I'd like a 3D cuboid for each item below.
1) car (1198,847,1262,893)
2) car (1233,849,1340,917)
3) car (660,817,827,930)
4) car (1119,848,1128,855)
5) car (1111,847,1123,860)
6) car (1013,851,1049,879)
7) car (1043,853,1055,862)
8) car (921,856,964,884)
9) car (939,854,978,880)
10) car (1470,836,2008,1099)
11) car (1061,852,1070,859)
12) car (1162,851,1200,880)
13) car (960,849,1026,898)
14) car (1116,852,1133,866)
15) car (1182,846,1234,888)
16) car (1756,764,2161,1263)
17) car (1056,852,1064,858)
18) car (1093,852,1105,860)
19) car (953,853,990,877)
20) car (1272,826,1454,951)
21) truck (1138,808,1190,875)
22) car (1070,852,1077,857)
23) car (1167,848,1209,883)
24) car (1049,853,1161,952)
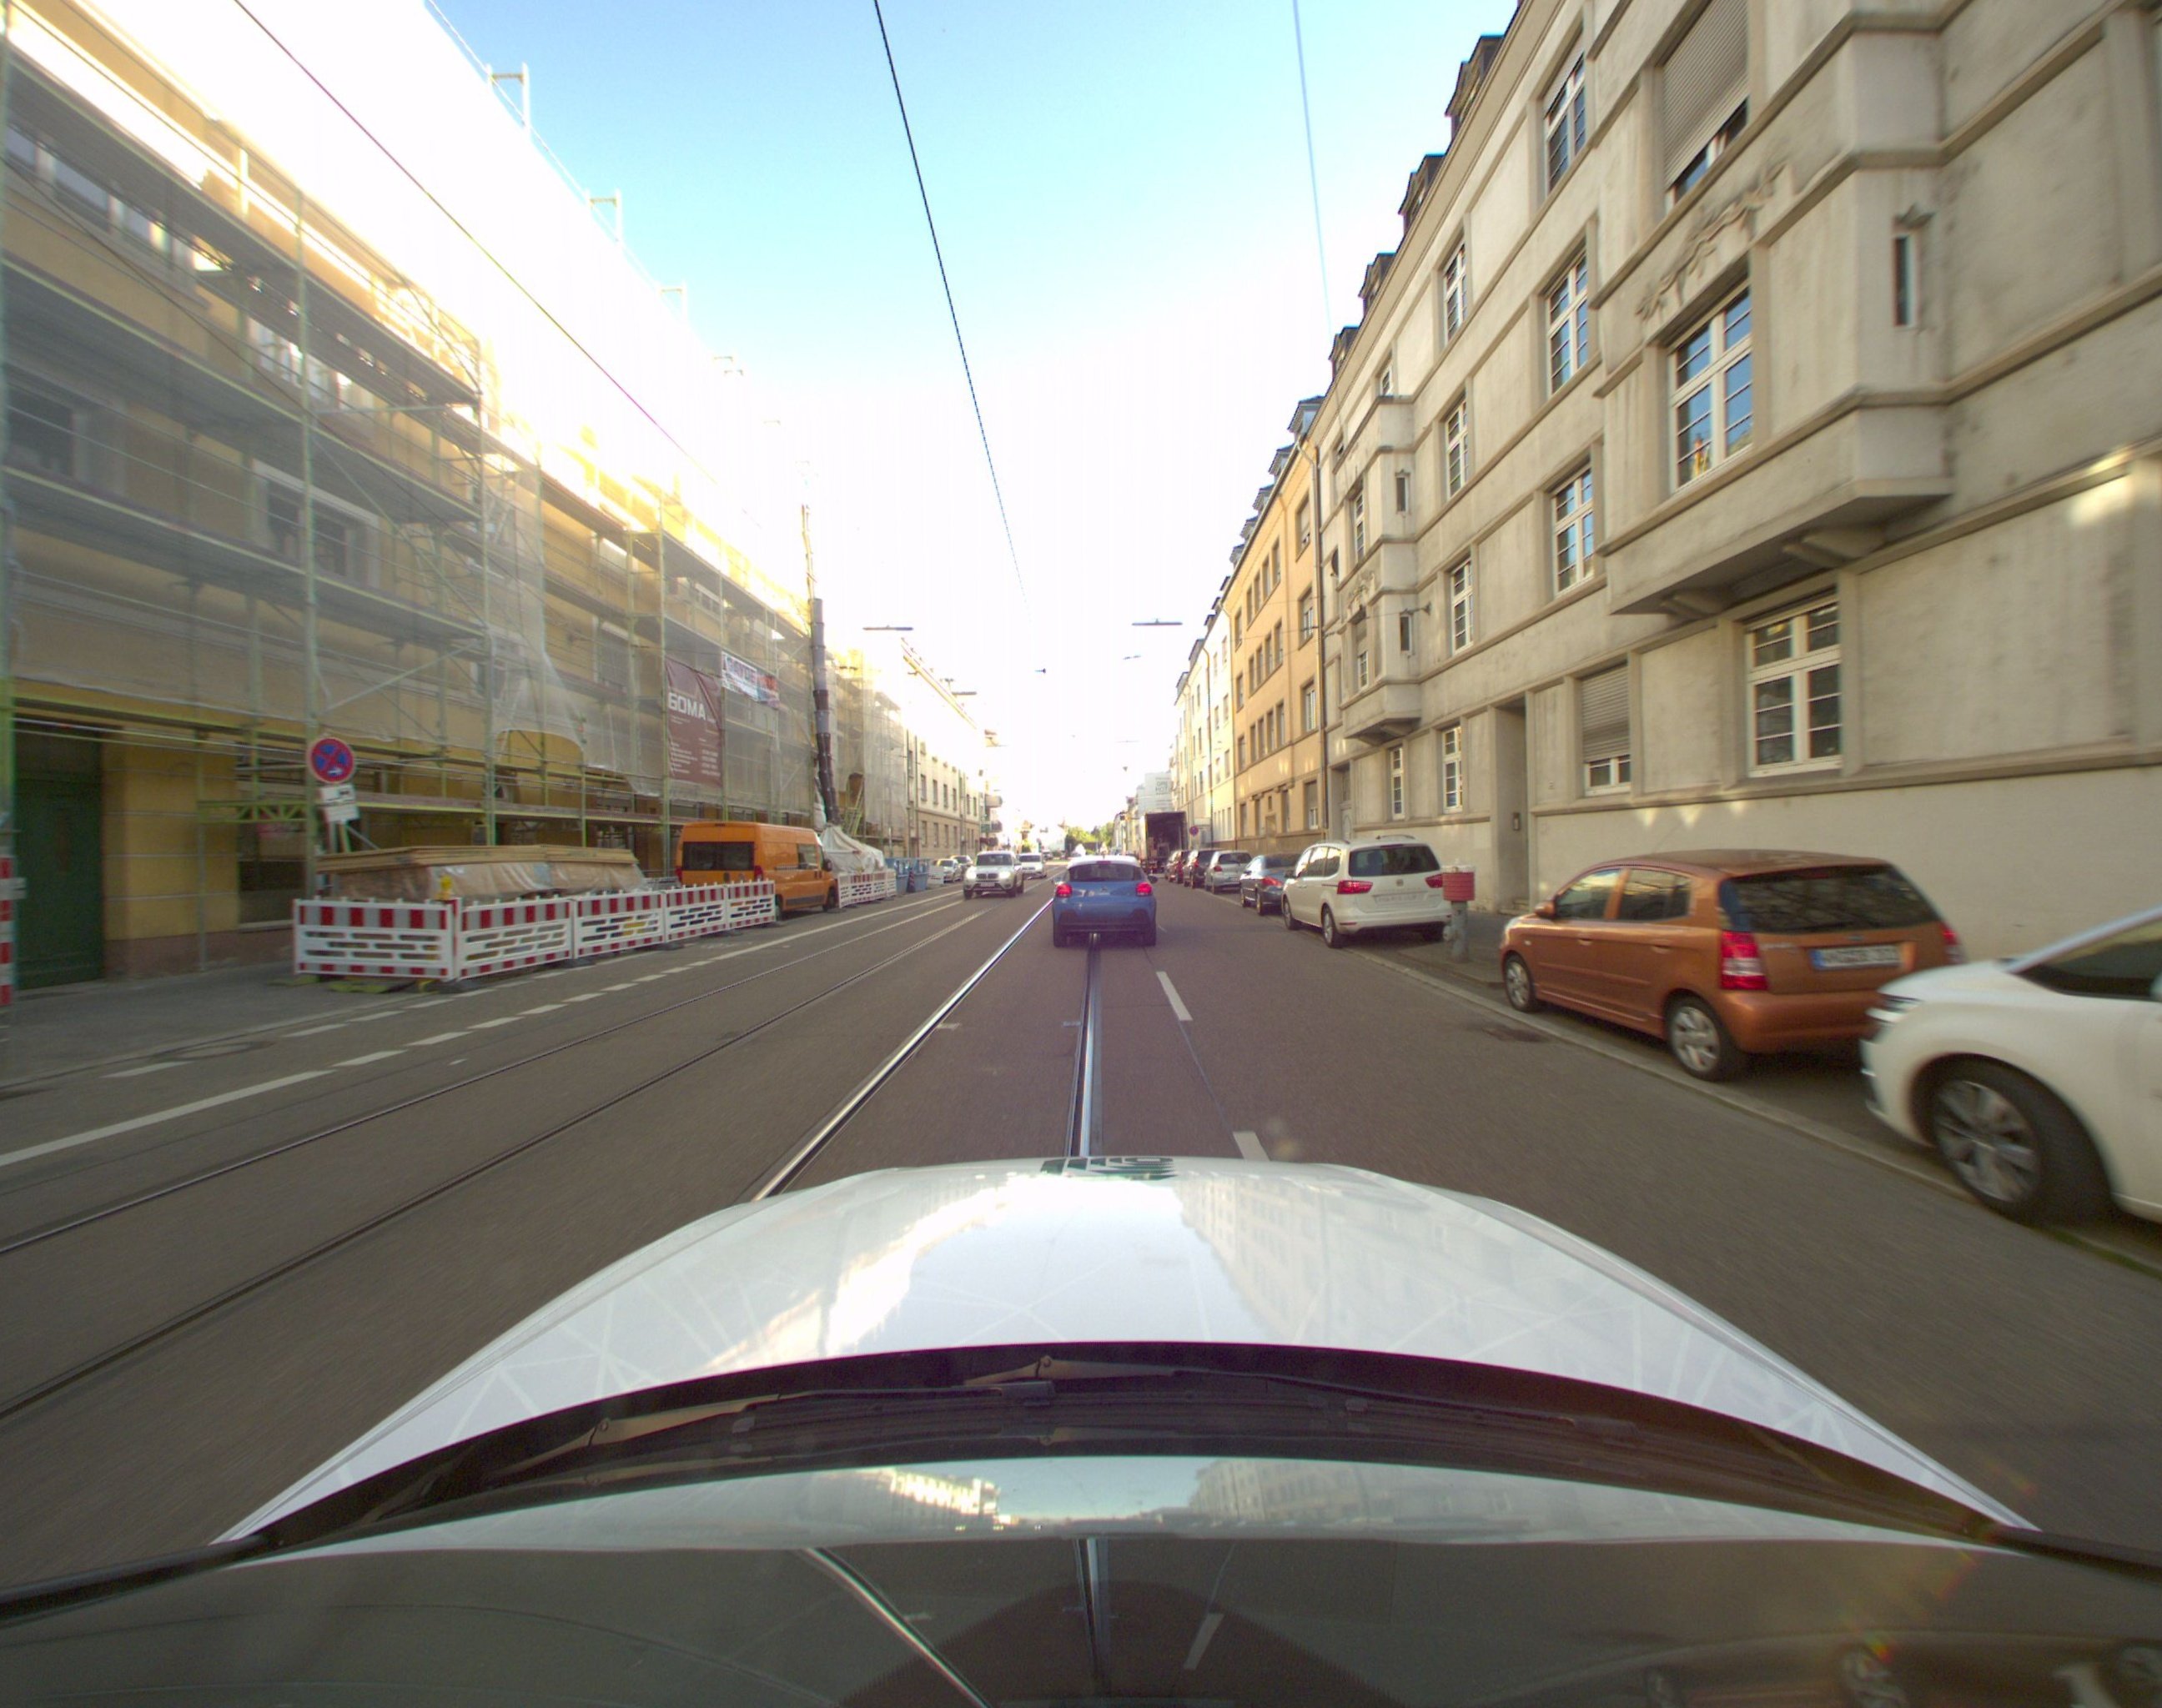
[{"bbox_3d":[5.402,0.547,29.904,1.658,1.519,4.223,-2,0,2],"label":"car"},{"bbox_3d":[5.029,0.644,20.474,1.716,1.486,4.223,-2,0,2],"label":"car"},{"bbox_3d":[-8.236,0.420,20.516,2.138,2.475,4.978,-1,0,-1],"label":"car"},{"bbox_3d":[9.215,-0.572,177.663,1.759,1.486,4.033,-2,0,2],"label":"car"},{"bbox_3d":[6.528,-0.028,148.487,2.211,2.284,4.085,-2,0,2],"label":"car"},{"bbox_3d":[-3.123,0.658,51.689,1.894,1.631,4.268,-2,0,2],"label":"car"},{"bbox_3d":[-5.645,0.583,143.654,1.894,1.631,4.268,-2,0,2],"label":"car"},{"bbox_3d":[-8.187,0.927,48.506,1.708,1.518,4.049,-2,0,2],"label":"car"},{"bbox_3d":[-7.967,0.818,53.399,1.708,1.594,4.268,-2,0,2],"label":"car"},{"bbox_3d":[4.863,0.684,6.762,1.608,1.560,3.601,-2,0,2],"label":"car"},{"bbox_3d":[-3.302,0.315,171.735,1.759,1.486,4.033,-2,0,2],"label":"car"},{"bbox_3d":[5.515,0.621,45.252,1.658,1.486,4.033,-2,0,2],"label":"car"},{"bbox_3d":[-3.199,0.662,30.530,1.819,1.631,4.492,-2,0,2],"label":"car"},{"bbox_3d":[4.771,0.534,89.648,1.759,1.486,4.033,-2,0,2],"label":"car"},{"bbox_3d":[5.356,0.513,34.751,1.658,1.647,4.223,-2,0,2],"label":"car"},{"bbox_3d":[4.639,0.540,2.195,1.651,1.752,4.598,-2,0,-3],"label":"car"},{"bbox_3d":[-5.126,0.280,196.564,1.759,1.486,4.033,-2,0,2],"label":"car"},{"bbox_3d":[3.490,0.308,153.701,2.172,1.486,4.161,-1,0,2],"label":"car"},{"bbox_3d":[-8.213,0.797,61.386,2.137,1.621,4.001,-2,0,1],"label":"car"},{"bbox_3d":[4.799,0.511,14.603,1.724,1.827,4.688,-2,0,2],"label":"car"},{"bbox_3d":[5.594,-0.783,56.478,2.842,4.083,11.278,-2,0,3],"label":"truck"},{"bbox_3d":[-2.222,0.050,246.801,1.759,1.486,4.033,-2,0,2],"label":"car"},{"bbox_3d":[5.310,0.538,40.774,1.658,1.633,3.872,-2,0,2],"label":"car"},{"bbox_3d":[0.432,0.752,14.710,1.728,1.507,3.994,0,0,2],"label":"car"}]
